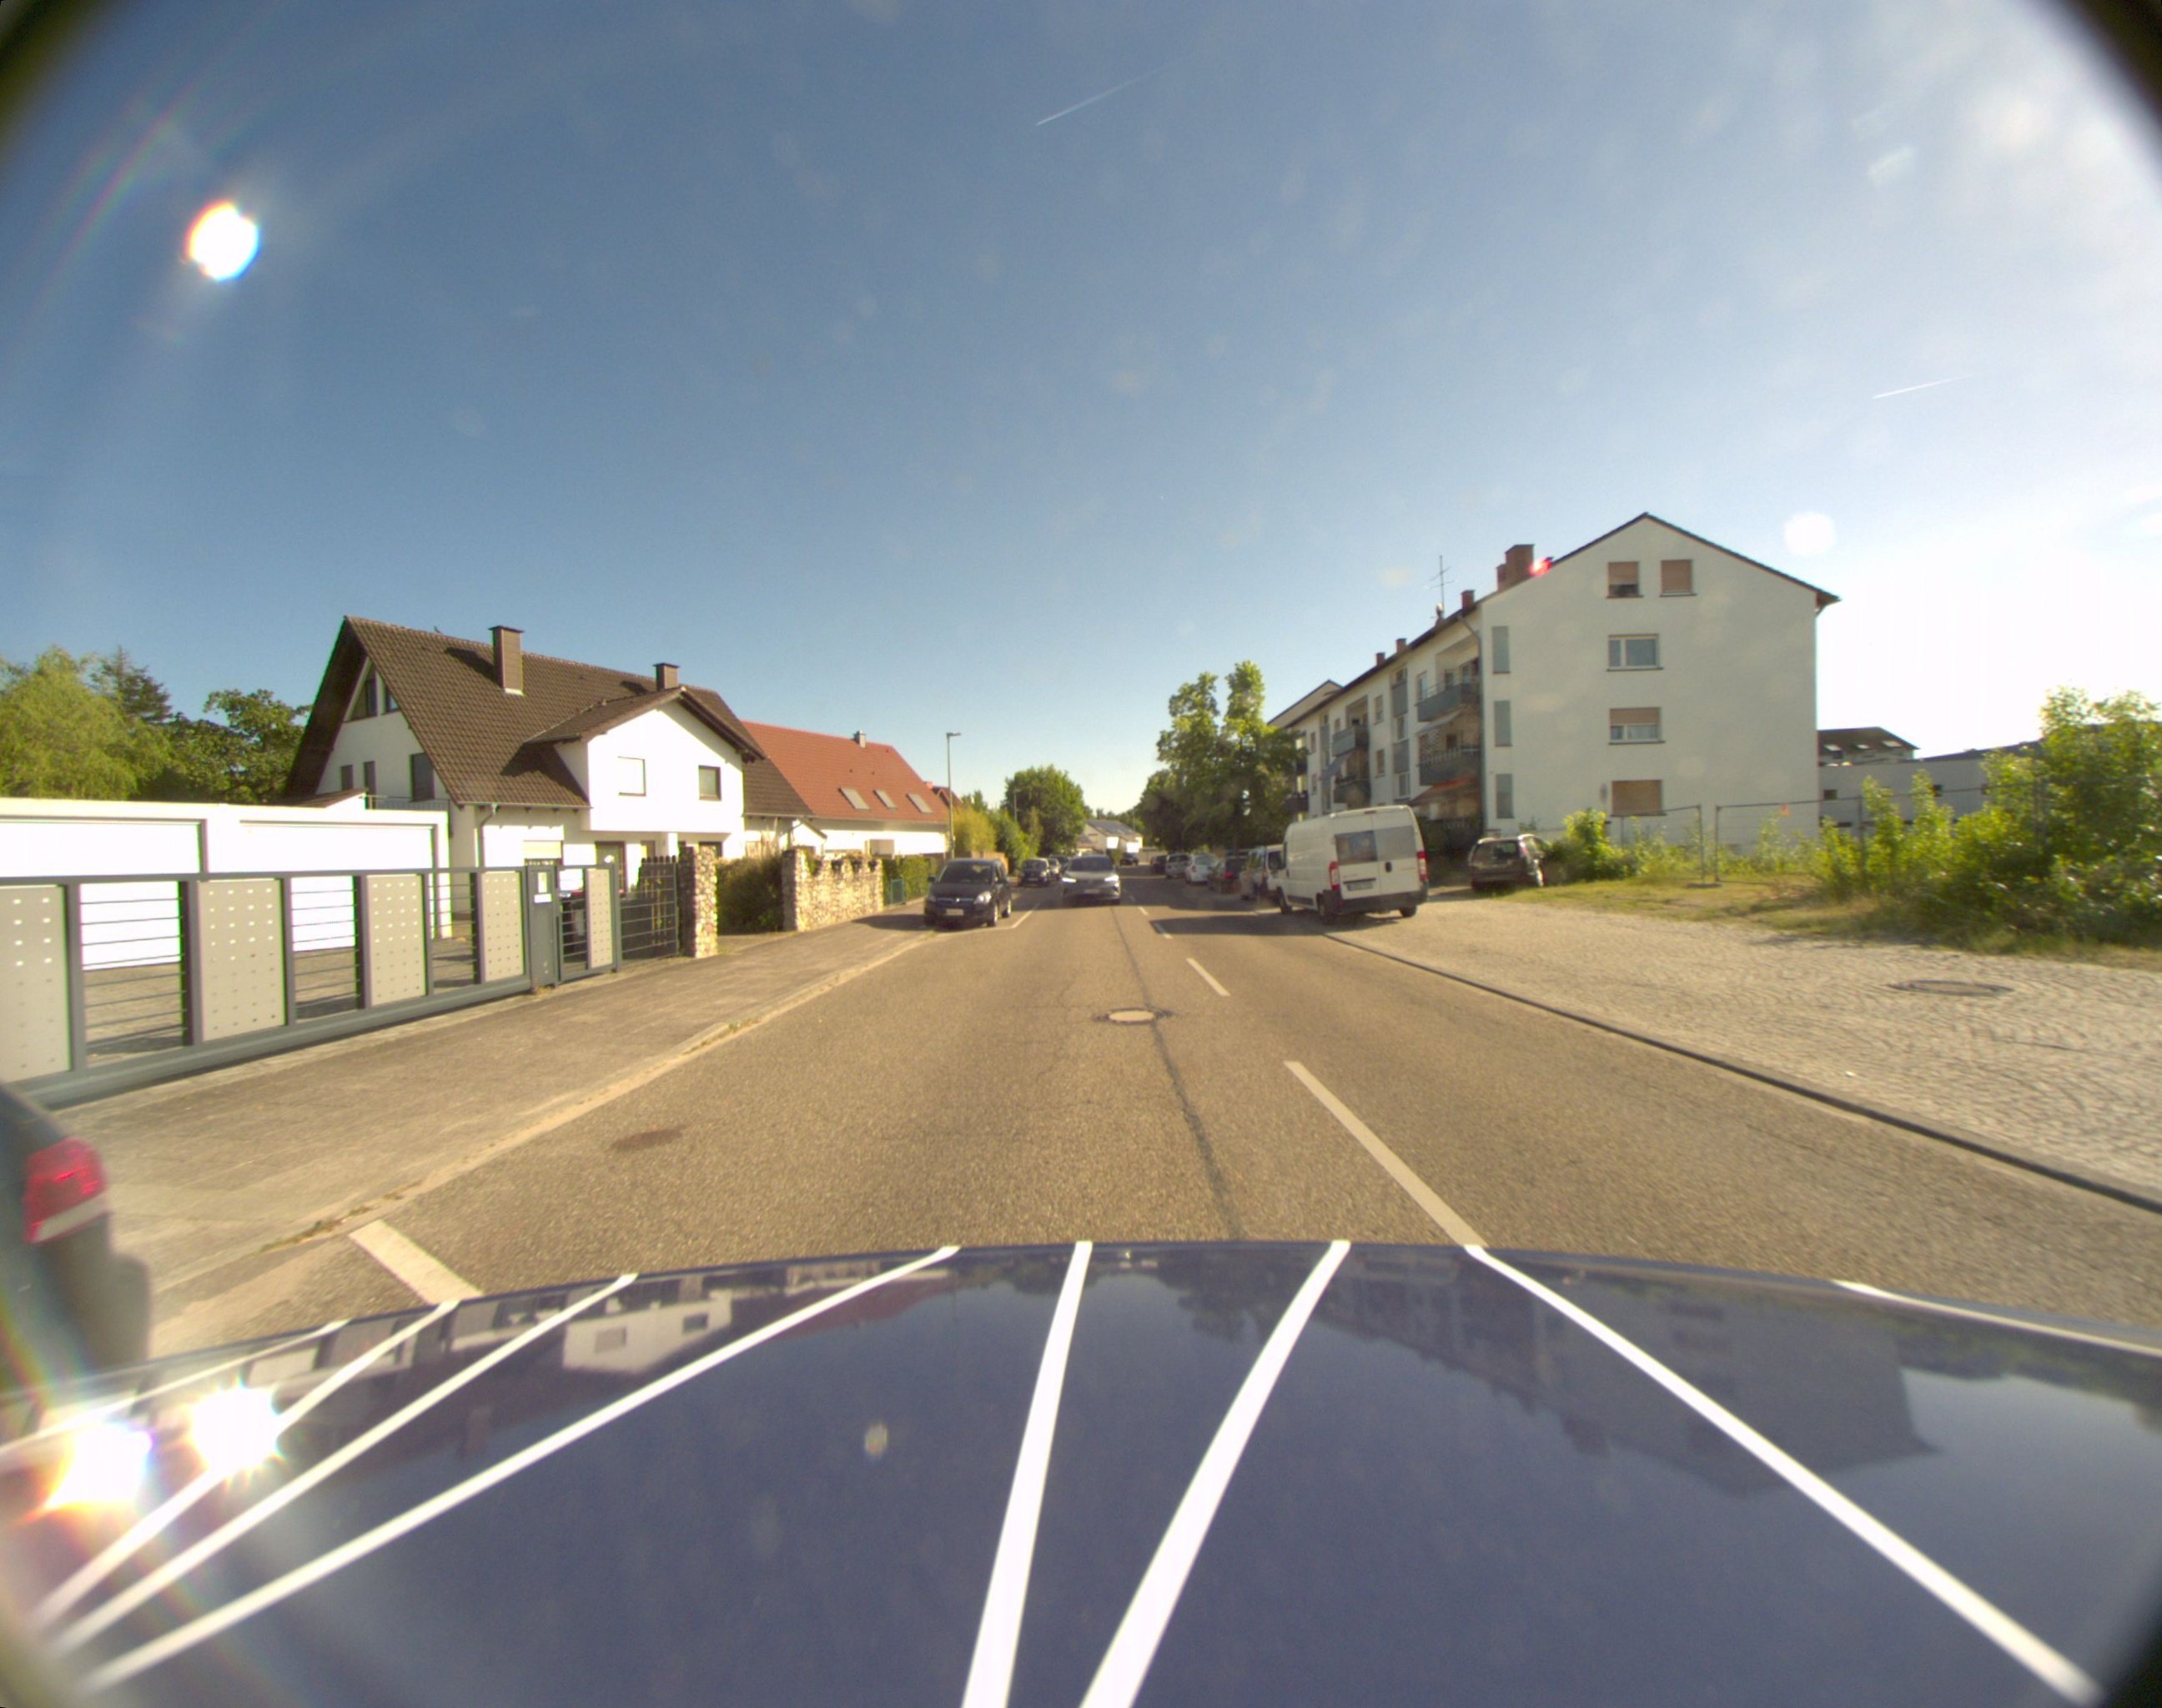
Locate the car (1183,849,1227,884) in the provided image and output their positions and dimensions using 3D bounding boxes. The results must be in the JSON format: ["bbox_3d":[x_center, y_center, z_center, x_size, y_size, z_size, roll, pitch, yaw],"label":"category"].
[{"bbox_3d":[6.176,0.575,38.217,1.696,1.557,3.907,-5,0,4],"label":"car"}]

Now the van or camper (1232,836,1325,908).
[{"bbox_3d":[6.248,0.532,24.558,1.882,2.002,4.279,-4,0,2],"label":"van or camper"}]

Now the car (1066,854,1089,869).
[{"bbox_3d":[-0.340,0.841,84.095,1.656,1.554,4.468,-1,0,10],"label":"car"}]

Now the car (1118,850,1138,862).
[{"bbox_3d":[6.951,0.288,111.261,1.774,1.727,3.710,2,1,23],"label":"car"}]

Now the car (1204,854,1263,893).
[{"bbox_3d":[6.274,0.751,31.646,1.613,1.427,4.313,-3,0,1],"label":"car"}]

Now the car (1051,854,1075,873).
[{"bbox_3d":[-1.606,0.824,70.406,1.767,1.666,4.395,-1,0,4],"label":"car"}]

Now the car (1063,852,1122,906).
[{"bbox_3d":[0.356,0.784,25.137,1.777,1.624,3.704,-1,0,0],"label":"car"}]

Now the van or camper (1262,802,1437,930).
[{"bbox_3d":[6.231,0.261,18.543,2.128,2.475,5.555,-5,0,0],"label":"van or camper"}]

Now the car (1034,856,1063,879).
[{"bbox_3d":[-2.177,0.889,52.360,1.646,1.485,3.890,-1,0,2],"label":"car"}]

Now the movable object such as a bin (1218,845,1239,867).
[{"bbox_3d":[11.574,0.146,59.525,1.416,1.653,1.267,-2,0,3],"label":"movable object such as a bin"}]

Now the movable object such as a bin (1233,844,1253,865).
[{"bbox_3d":[12.142,0.048,56.994,1.293,1.534,1.327,-2,0,3],"label":"movable object such as a bin"}]

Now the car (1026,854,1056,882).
[{"bbox_3d":[-2.456,0.857,47.003,1.729,1.591,3.815,-2,0,-2],"label":"car"}]

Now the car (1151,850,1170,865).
[{"bbox_3d":[8.435,0.372,80.436,1.660,1.485,3.911,-5,-1,10],"label":"car"}]

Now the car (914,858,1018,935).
[{"bbox_3d":[-2.776,0.973,19.342,1.780,1.649,4.304,-2,0,2],"label":"car"}]

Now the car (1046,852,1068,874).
[{"bbox_3d":[-2.037,0.710,65.232,1.747,1.802,4.429,-1,0,0],"label":"car"}]

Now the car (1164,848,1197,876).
[{"bbox_3d":[6.556,0.511,50.576,1.726,1.583,3.909,-7,0,3],"label":"car"}]

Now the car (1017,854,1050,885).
[{"bbox_3d":[-2.553,0.803,41.595,1.661,1.591,3.815,-2,0,-2],"label":"car"}]

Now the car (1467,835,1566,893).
[{"bbox_3d":[12.751,0.241,22.113,1.610,1.505,4.397,-2,0,41],"label":"car"}]

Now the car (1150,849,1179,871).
[{"bbox_3d":[6.834,0.476,62.485,1.726,1.485,4.543,-7,0,0],"label":"car"}]
